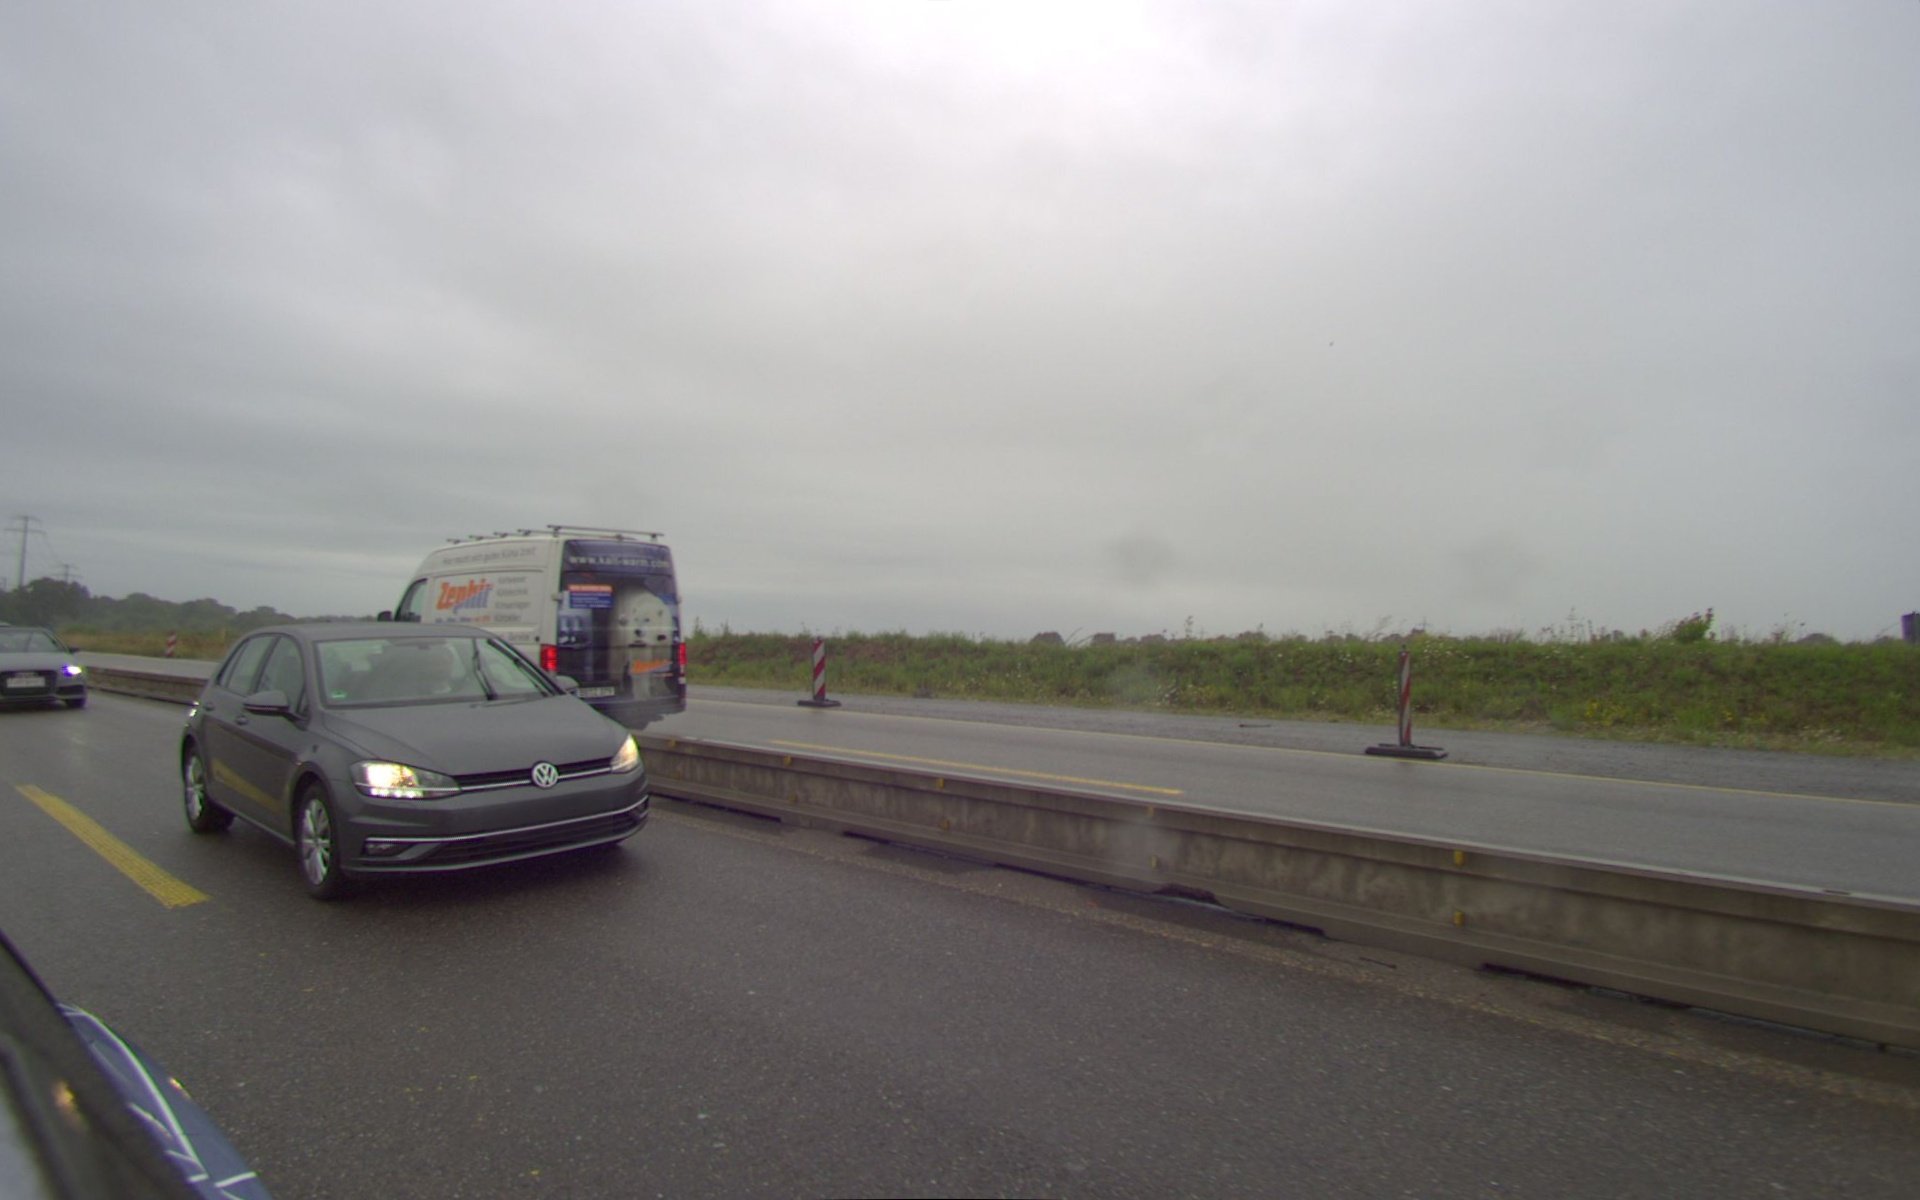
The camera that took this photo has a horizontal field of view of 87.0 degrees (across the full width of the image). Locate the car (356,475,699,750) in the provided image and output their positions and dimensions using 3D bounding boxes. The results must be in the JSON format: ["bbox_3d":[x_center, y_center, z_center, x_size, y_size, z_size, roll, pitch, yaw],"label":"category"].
[{"bbox_3d":[-6.107,0.192,13.831,5.776,3.036,1.973,-2,-1,41],"label":"car"}]

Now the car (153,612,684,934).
[{"bbox_3d":[-3.657,0.800,6.501,4.078,1.433,1.633,0,-1,40],"label":"car"}]

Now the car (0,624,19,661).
[{"bbox_3d":[-42.296,1.819,43.694,4.577,1.507,1.876,0,0,39],"label":"car"}]

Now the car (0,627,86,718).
[{"bbox_3d":[-17.056,1.218,17.936,4.266,1.407,1.777,0,0,41],"label":"car"}]
